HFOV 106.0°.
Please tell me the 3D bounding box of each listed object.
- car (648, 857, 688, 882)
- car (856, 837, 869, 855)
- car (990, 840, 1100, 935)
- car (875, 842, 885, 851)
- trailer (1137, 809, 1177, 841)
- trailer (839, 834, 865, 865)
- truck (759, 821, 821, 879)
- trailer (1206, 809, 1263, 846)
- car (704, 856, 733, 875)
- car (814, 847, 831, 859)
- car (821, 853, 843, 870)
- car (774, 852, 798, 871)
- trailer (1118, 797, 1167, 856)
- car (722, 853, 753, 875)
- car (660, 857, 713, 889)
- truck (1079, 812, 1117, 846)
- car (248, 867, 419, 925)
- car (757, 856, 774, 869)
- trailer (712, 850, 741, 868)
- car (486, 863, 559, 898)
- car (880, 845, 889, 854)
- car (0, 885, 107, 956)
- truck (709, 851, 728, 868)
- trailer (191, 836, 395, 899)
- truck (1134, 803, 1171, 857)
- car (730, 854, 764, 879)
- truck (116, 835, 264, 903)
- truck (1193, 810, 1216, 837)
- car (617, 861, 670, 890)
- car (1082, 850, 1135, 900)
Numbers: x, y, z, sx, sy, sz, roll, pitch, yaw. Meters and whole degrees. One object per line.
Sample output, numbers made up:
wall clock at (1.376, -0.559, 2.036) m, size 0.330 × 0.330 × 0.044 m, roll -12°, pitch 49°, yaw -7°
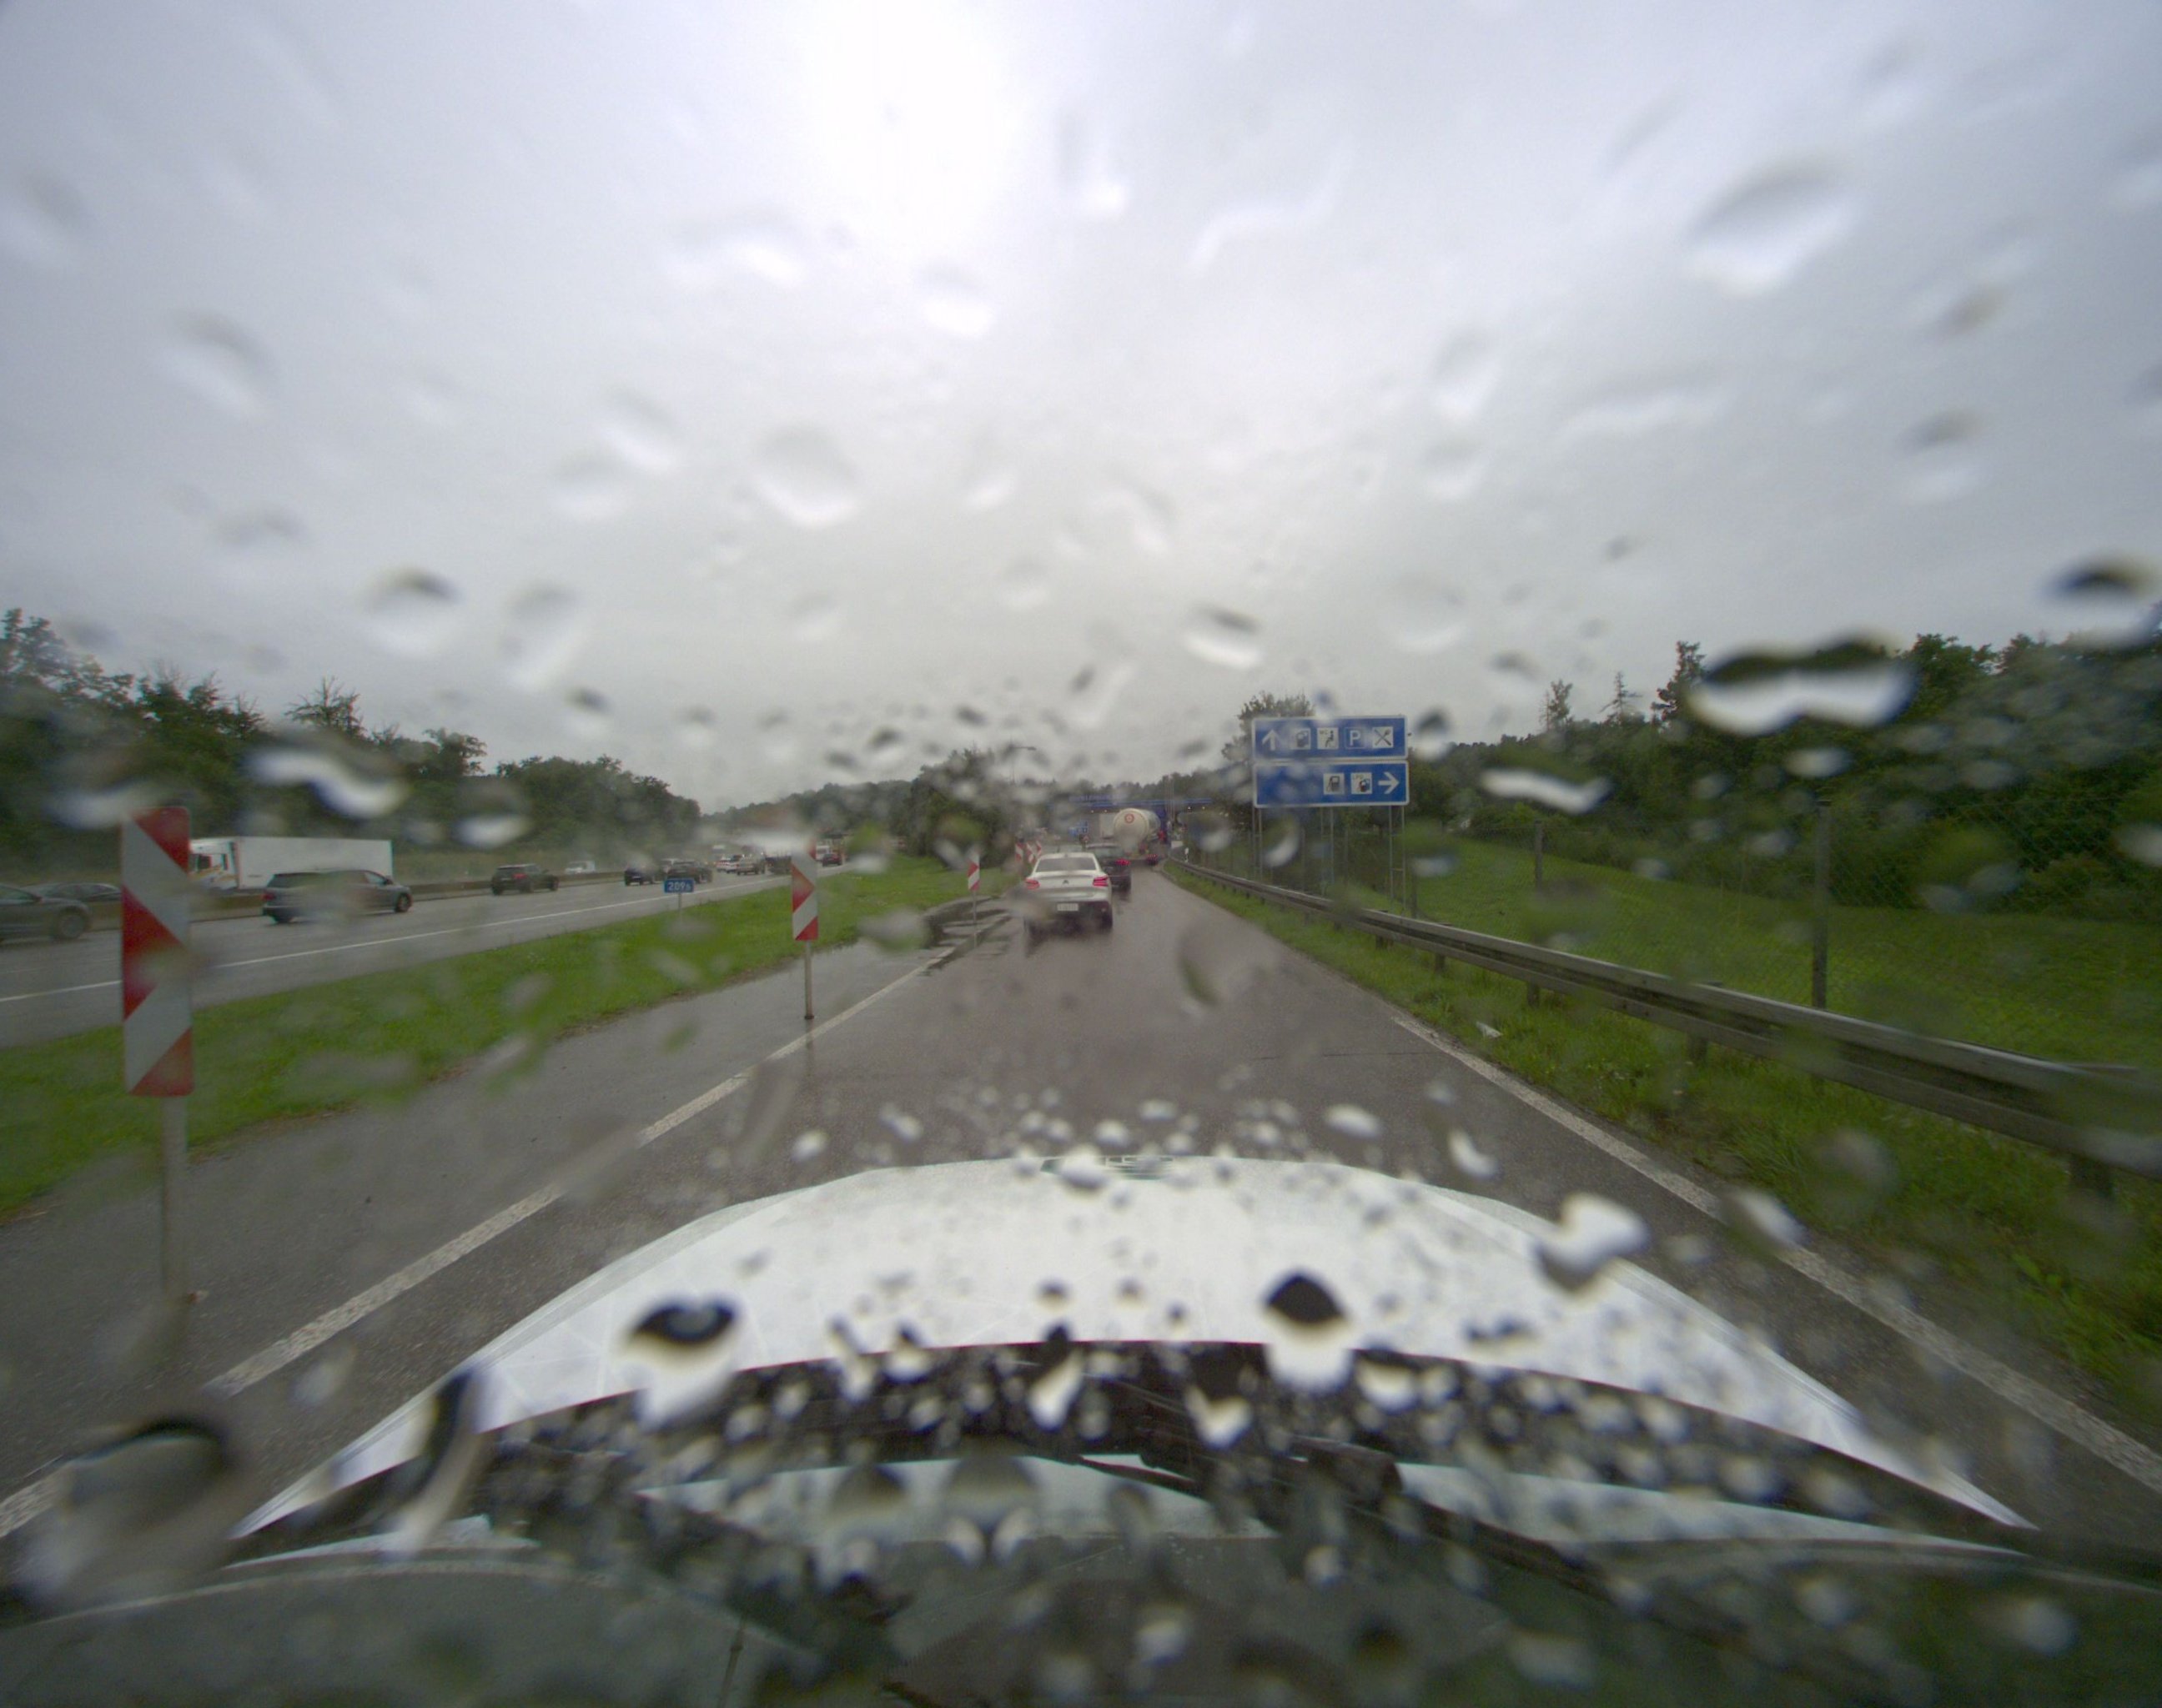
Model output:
car at (-36.296, 1.336, 71.714) m, size 1.994 × 2.013 × 3.985 m, roll -3°, pitch 0°, yaw -11°
car at (-43.331, -1.618, 161.372) m, size 2.377 × 3.485 × 4.790 m, roll 1°, pitch 0°, yaw -15°
car at (-0.649, 0.613, 17.193) m, size 1.987 × 1.679 × 4.000 m, roll -3°, pitch 0°, yaw 0°
car at (-45.890, -1.717, 185.531) m, size 1.998 × 2.014 × 3.977 m, roll 1°, pitch 0°, yaw -17°
trailer at (10.499, -4.018, 114.399) m, size 3.213 × 4.188 × 11.503 m, roll -1°, pitch 2°, yaw -7°
trailer at (-36.309, -0.660, 129.312) m, size 3.555 × 4.612 × 12.055 m, roll -3°, pitch 0°, yaw -15°
truck at (-24.055, -0.294, 67.935) m, size 2.850 × 4.292 × 11.798 m, roll -3°, pitch 0°, yaw -11°
trailer at (15.575, -2.780, 81.829) m, size 2.111 × 3.440 × 10.319 m, roll -1°, pitch 2°, yaw 31°
car at (-40.632, 1.236, 91.435) m, size 1.994 × 2.013 × 3.985 m, roll -3°, pitch 0°, yaw -11°
car at (-40.939, -0.160, 129.118) m, size 1.993 × 1.816 × 3.988 m, roll 1°, pitch 0°, yaw -9°
car at (-28.363, 0.837, 92.774) m, size 1.994 × 1.816 × 3.985 m, roll -1°, pitch 0°, yaw -11°
car at (-32.048, 0.818, 88.502) m, size 1.996 × 2.013 × 3.981 m, roll -1°, pitch 0°, yaw -14°
trailer at (3.939, -1.681, 50.345) m, size 1.968 × 3.224 × 10.351 m, roll -1°, pitch 2°, yaw 10°
car at (-34.193, 0.987, 81.109) m, size 1.994 × 2.013 × 3.985 m, roll -3°, pitch 0°, yaw -11°
car at (-23.385, 1.063, 48.367) m, size 1.776 × 1.736 × 3.833 m, roll -3°, pitch 0°, yaw -10°
truck at (2.022, -3.157, 102.335) m, size 2.370 × 3.873 × 12.417 m, roll -3°, pitch 2°, yaw -9°
car at (-23.808, 1.277, 26.204) m, size 1.787 × 1.526 × 4.324 m, roll -3°, pitch 0°, yaw -7°
car at (-44.876, 1.184, 115.861) m, size 1.699 × 1.787 × 3.769 m, roll -2°, pitch 0°, yaw -12°
trailer at (-81.576, 1.021, 187.676) m, size 2.724 × 3.538 × 14.012 m, roll 2°, pitch 2°, yaw -10°
car at (-31.668, 1.468, 46.307) m, size 1.776 × 1.736 × 4.086 m, roll -3°, pitch 0°, yaw -10°
car at (-49.374, -1.145, 204.581) m, size 1.998 × 2.014 × 3.977 m, roll 1°, pitch 0°, yaw -17°
car at (-26.234, 1.642, 19.085) m, size 1.717 × 1.573 × 4.448 m, roll -3°, pitch 0°, yaw -7°
truck at (-80.324, 1.277, 180.530) m, size 2.715 × 3.533 × 4.746 m, roll 2°, pitch 1°, yaw -10°
trailer at (-51.082, 0.789, 53.677) m, size 2.650 × 3.497 × 13.434 m, roll -2°, pitch 0°, yaw -11°
truck at (5.041, -1.674, 56.777) m, size 2.040 × 3.530 × 4.760 m, roll -1°, pitch 2°, yaw 10°
car at (-28.148, 1.005, 68.775) m, size 1.789 × 1.971 × 4.317 m, roll -2°, pitch 0°, yaw -12°
truck at (-49.518, 0.787, 45.495) m, size 2.648 × 3.451 × 5.580 m, roll -2°, pitch 0°, yaw -11°
truck at (18.086, -4.518, 119.432) m, size 2.421 × 3.805 × 3.995 m, roll -3°, pitch 3°, yaw -4°
car at (-28.659, 1.364, 53.452) m, size 1.776 × 1.736 × 4.086 m, roll -2°, pitch 0°, yaw -10°
car at (0.994, 0.714, 29.194) m, size 1.736 × 1.667 × 4.002 m, roll 0°, pitch 0°, yaw 2°
